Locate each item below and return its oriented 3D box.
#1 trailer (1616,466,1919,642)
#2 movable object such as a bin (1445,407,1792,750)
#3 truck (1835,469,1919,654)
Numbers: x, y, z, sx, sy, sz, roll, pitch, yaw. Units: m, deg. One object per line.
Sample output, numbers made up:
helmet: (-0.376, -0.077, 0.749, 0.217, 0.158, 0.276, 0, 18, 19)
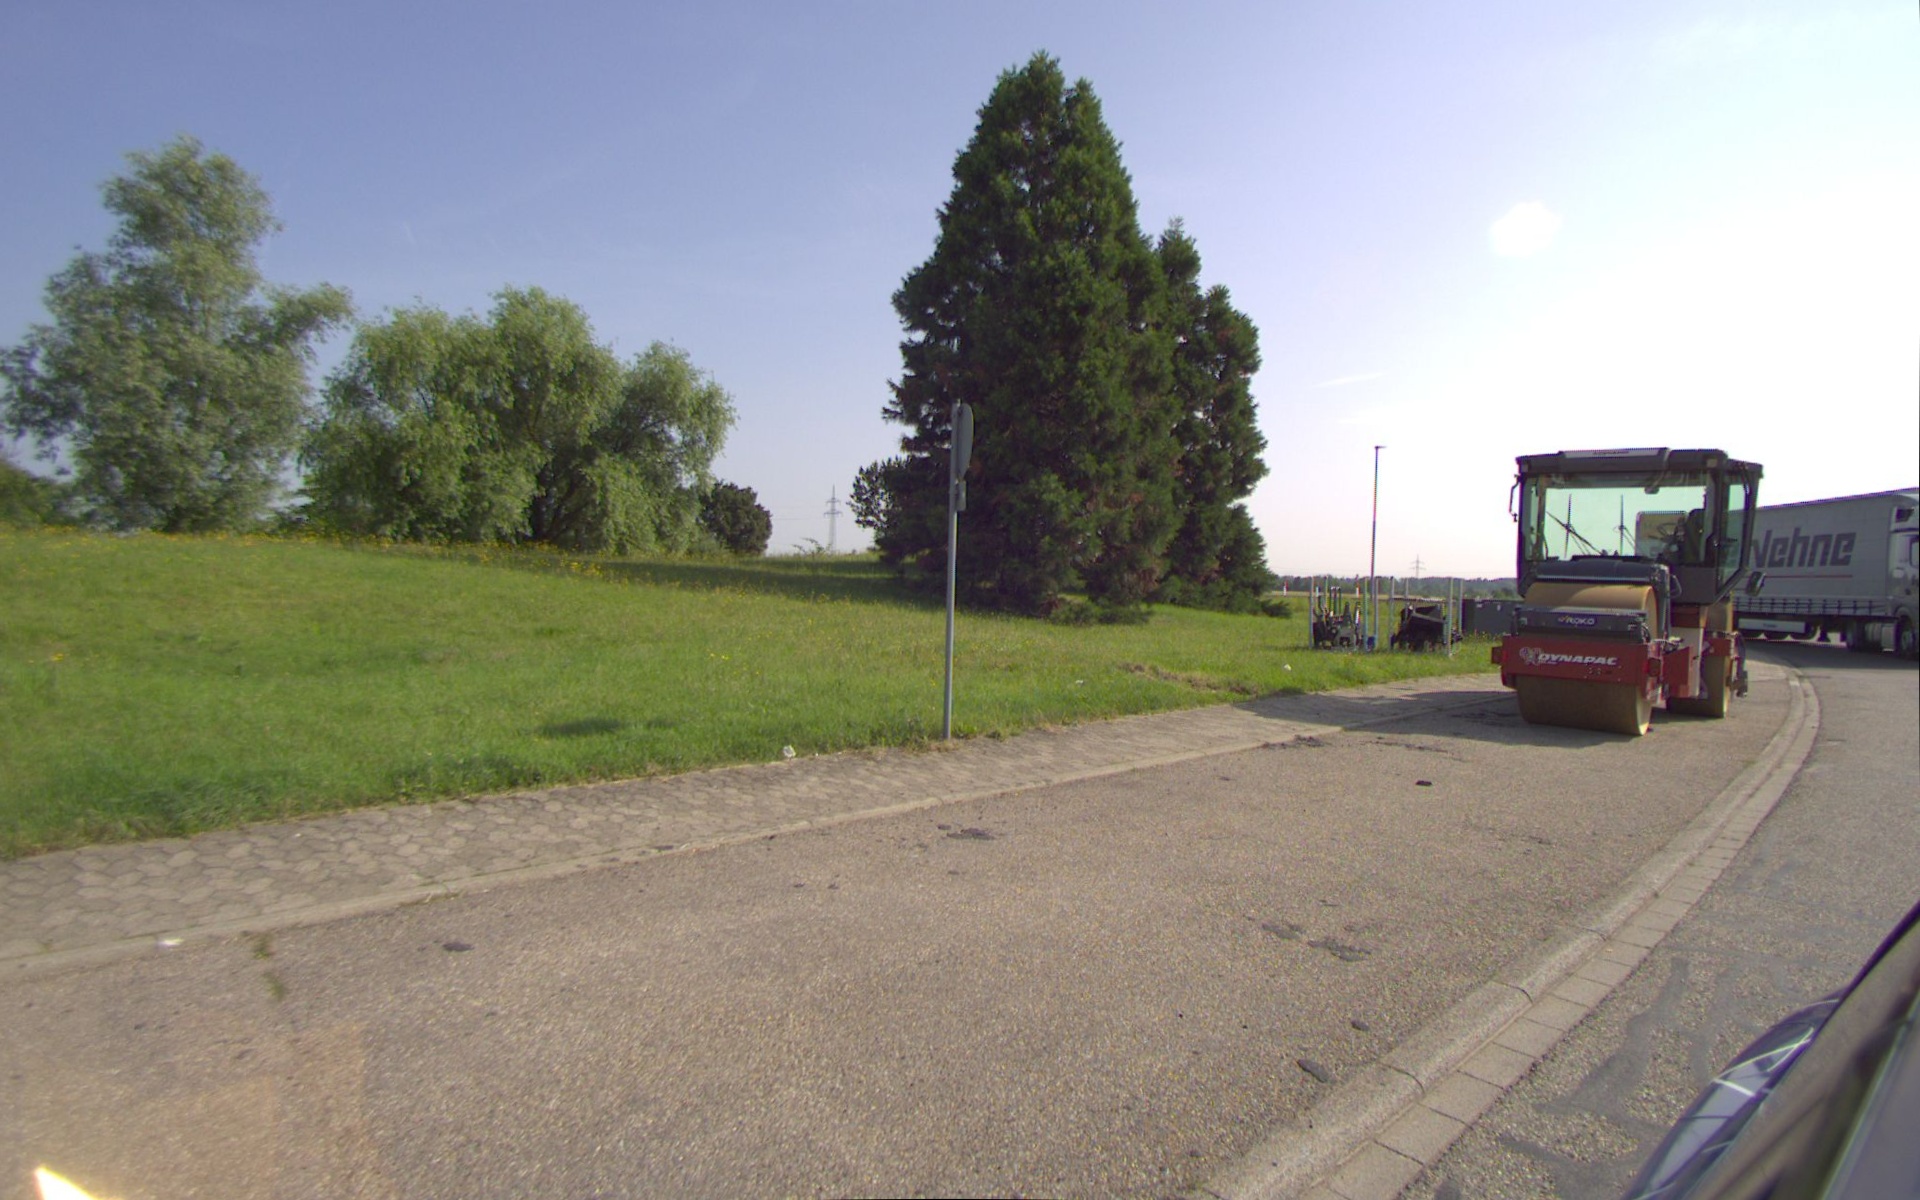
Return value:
trailer: (25.810, -1.215, 31.181, 3.440, 4.260, 14.206, -1, 1, 7)
movable object such as a bin: (7.954, -0.272, 11.905, 2.428, 3.048, 5.666, 4, 3, 42)
truck: (24.335, -0.918, 24.224, 3.359, 4.260, 6.052, -1, 0, 23)
